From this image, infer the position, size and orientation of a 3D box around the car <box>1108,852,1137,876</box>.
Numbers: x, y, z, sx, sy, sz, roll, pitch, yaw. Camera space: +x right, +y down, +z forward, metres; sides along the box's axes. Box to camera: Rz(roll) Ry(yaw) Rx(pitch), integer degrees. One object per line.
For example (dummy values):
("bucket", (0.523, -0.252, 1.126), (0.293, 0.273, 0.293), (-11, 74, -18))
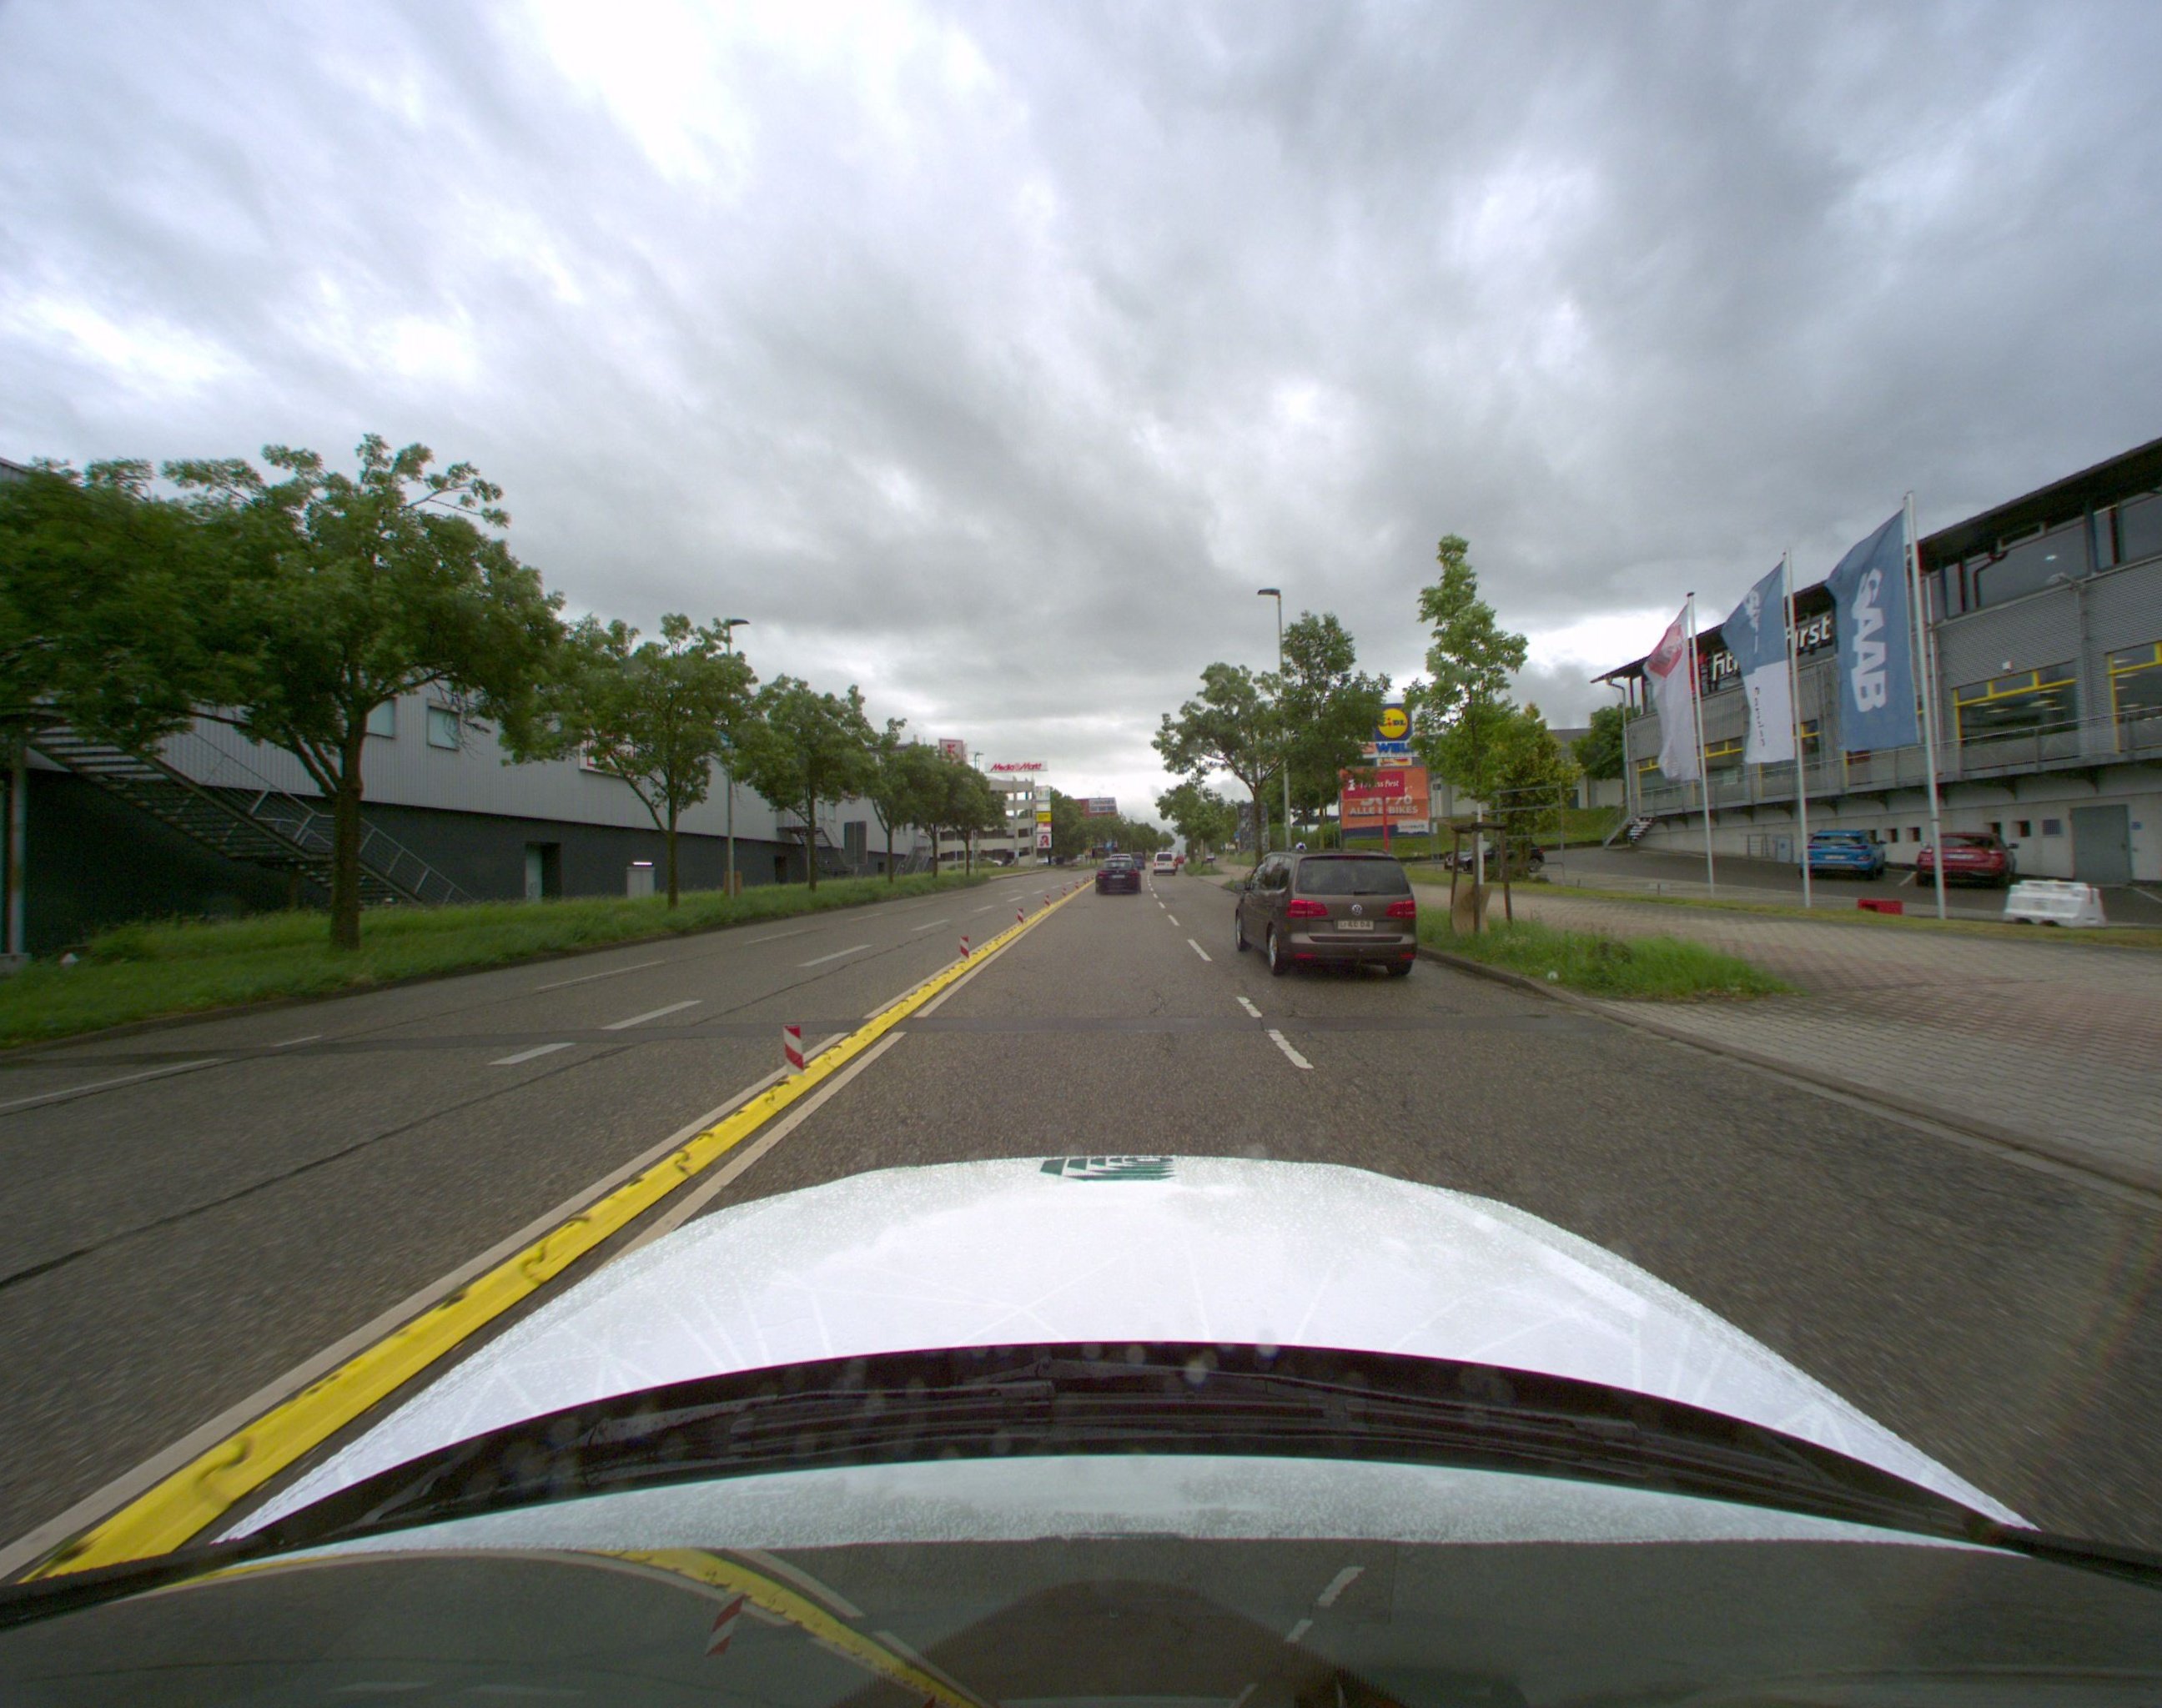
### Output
("car", (2.733, 0.638, 53.190), (1.786, 1.510, 4.004), (0, -1, 4))

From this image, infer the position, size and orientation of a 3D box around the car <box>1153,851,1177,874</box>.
("car", (6.632, 0.641, 64.617), (1.818, 1.759, 4.005), (0, 0, 5))

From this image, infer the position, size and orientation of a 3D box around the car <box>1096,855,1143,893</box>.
("car", (1.602, 0.784, 33.805), (1.820, 1.468, 4.003), (0, 0, 2))

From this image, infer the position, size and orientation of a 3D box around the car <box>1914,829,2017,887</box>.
("car", (25.970, 0.062, 23.887), (3.893, 1.501, 1.720), (-3, 2, -38))

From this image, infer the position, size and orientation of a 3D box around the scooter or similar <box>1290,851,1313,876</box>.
("scooter or similar", (12.046, 0.520, 44.535), (0.694, 1.264, 1.397), (-4, -2, -6))

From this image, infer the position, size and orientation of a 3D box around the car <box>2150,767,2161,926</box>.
("car", (18.171, -0.030, 10.239), (2.217, 2.536, 5.689), (0, 2, 4))

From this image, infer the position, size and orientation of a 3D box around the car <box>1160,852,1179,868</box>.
("car", (8.830, 0.617, 81.428), (1.785, 1.510, 4.005), (0, -1, 5))

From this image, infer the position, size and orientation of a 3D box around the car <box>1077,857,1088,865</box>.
("car", (0.446, 1.573, 190.140), (2.029, 1.762, 4.954), (-1, 1, 6))

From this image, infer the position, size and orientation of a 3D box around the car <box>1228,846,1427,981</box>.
("car", (3.253, 0.702, 11.607), (1.679, 1.581, 4.220), (0, 0, 2))

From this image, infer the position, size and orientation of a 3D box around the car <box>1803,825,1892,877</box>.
("car", (25.750, -0.145, 27.322), (3.931, 1.559, 1.720), (-3, 2, -39))

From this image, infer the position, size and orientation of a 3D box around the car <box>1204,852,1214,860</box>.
("car", (26.380, 0.445, 167.764), (1.785, 1.510, 4.006), (0, -1, 5))

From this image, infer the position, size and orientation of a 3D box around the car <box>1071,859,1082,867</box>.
("car", (-0.945, 1.962, 175.748), (1.924, 1.608, 4.717), (-1, 1, 4))

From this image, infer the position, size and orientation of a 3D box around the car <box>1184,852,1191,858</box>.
("car", (30.231, 0.257, 230.642), (1.786, 1.510, 4.005), (0, -1, 5))

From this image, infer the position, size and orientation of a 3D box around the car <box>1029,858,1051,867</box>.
("car", (-9.110, 1.897, 181.392), (4.583, 1.745, 1.967), (-1, 1, 0))

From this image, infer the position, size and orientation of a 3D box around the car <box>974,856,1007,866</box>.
("car", (-13.365, 0.993, 119.717), (4.374, 1.408, 1.914), (-1, 0, 17))

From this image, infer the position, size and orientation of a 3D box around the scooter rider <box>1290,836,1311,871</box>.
("scooter rider", (12.012, -0.004, 44.592), (0.694, 1.820, 0.856), (-4, -3, -6))

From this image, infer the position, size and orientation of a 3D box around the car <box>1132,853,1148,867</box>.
("car", (6.464, 0.655, 89.045), (1.786, 1.510, 4.004), (0, -1, 4))

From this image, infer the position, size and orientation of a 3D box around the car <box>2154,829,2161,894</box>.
("car", (25.227, 0.226, 17.865), (4.283, 1.470, 1.719), (-3, 2, -41))

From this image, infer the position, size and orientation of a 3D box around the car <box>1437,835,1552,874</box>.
("car", (17.304, 0.001, 34.151), (4.091, 1.438, 1.791), (-2, 2, -11))
